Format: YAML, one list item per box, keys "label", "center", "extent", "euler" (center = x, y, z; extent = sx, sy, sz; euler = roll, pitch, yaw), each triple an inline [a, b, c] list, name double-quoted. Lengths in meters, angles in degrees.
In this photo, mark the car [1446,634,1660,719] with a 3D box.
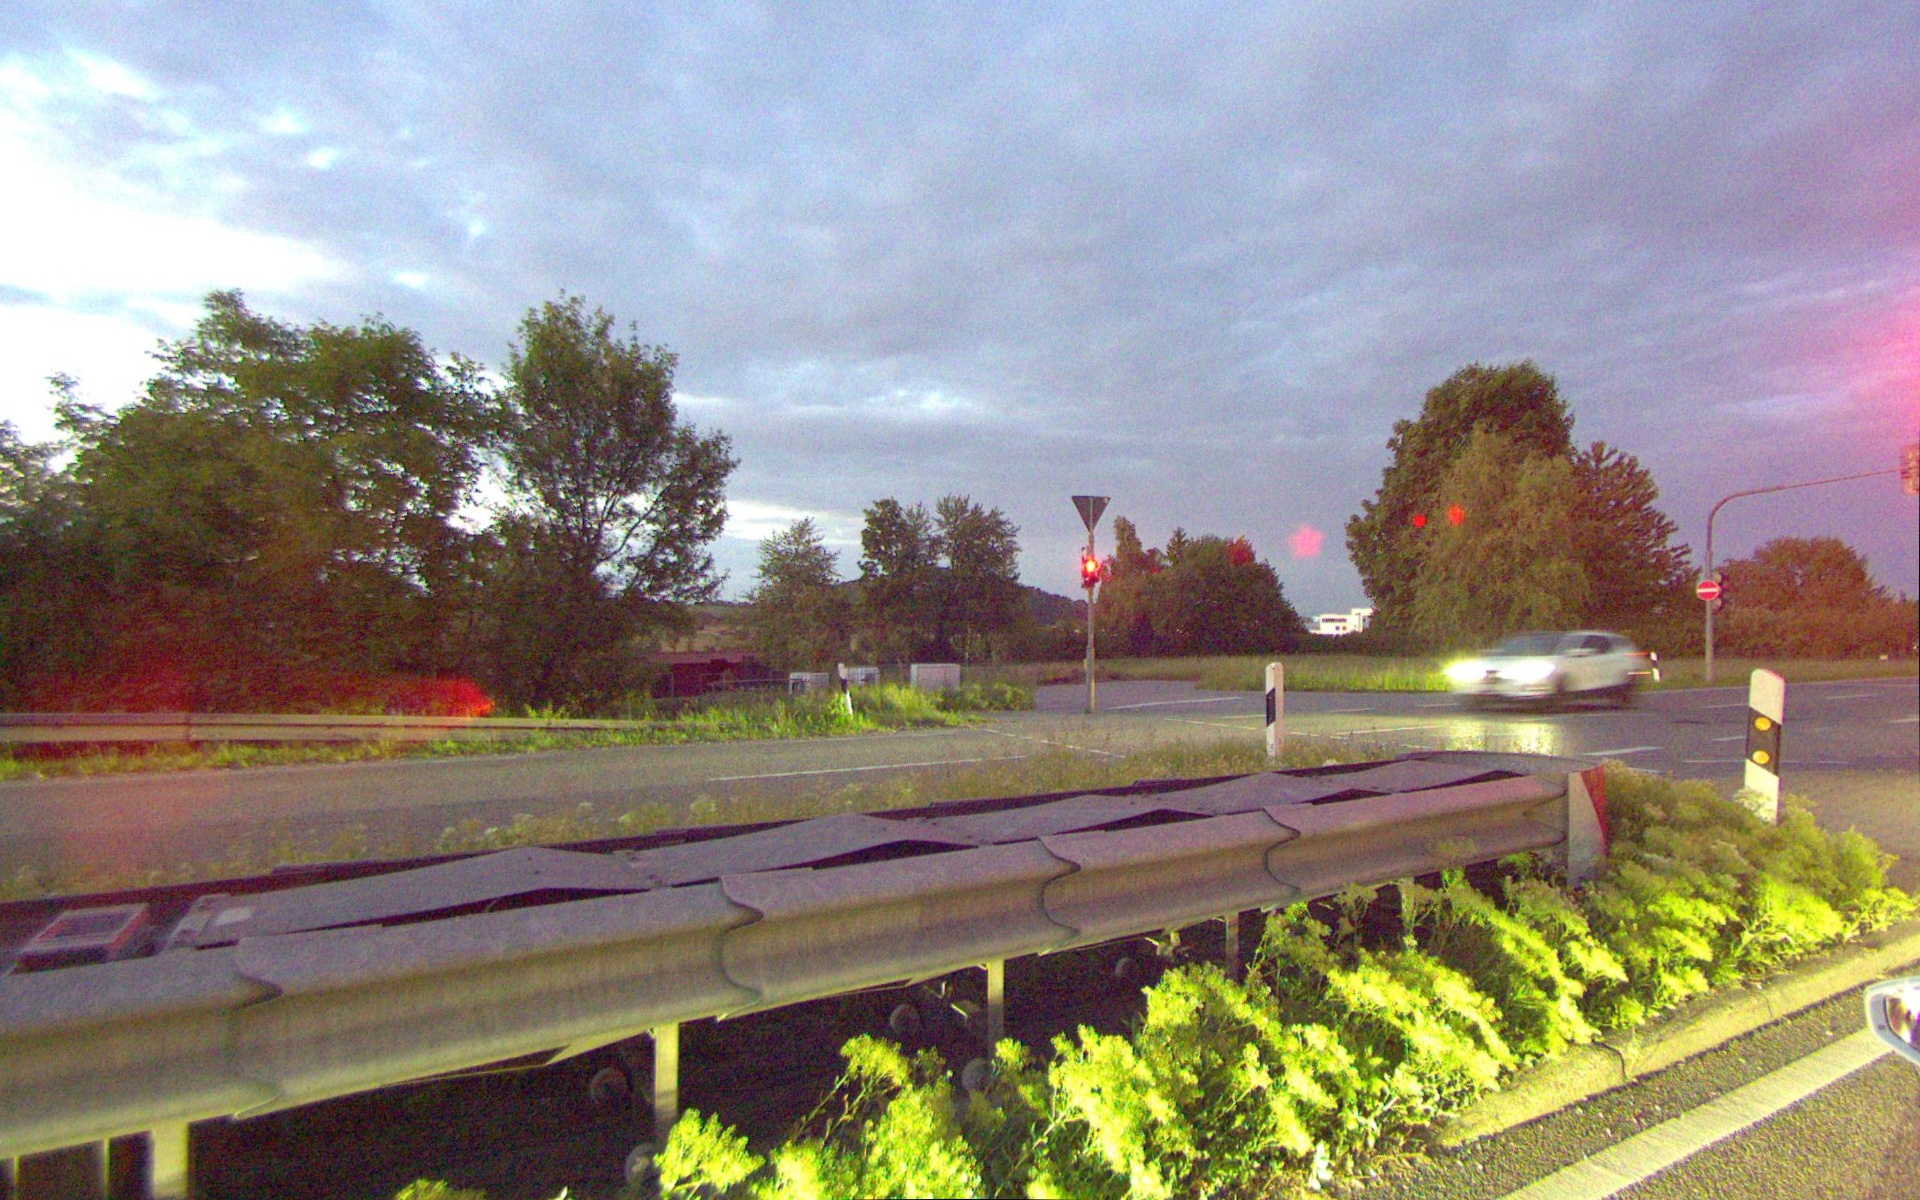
- label: "car"
  center: [12.142, 1.482, 20.542]
  extent: [4.247, 1.539, 1.984]
  euler: [1, -2, -30]
